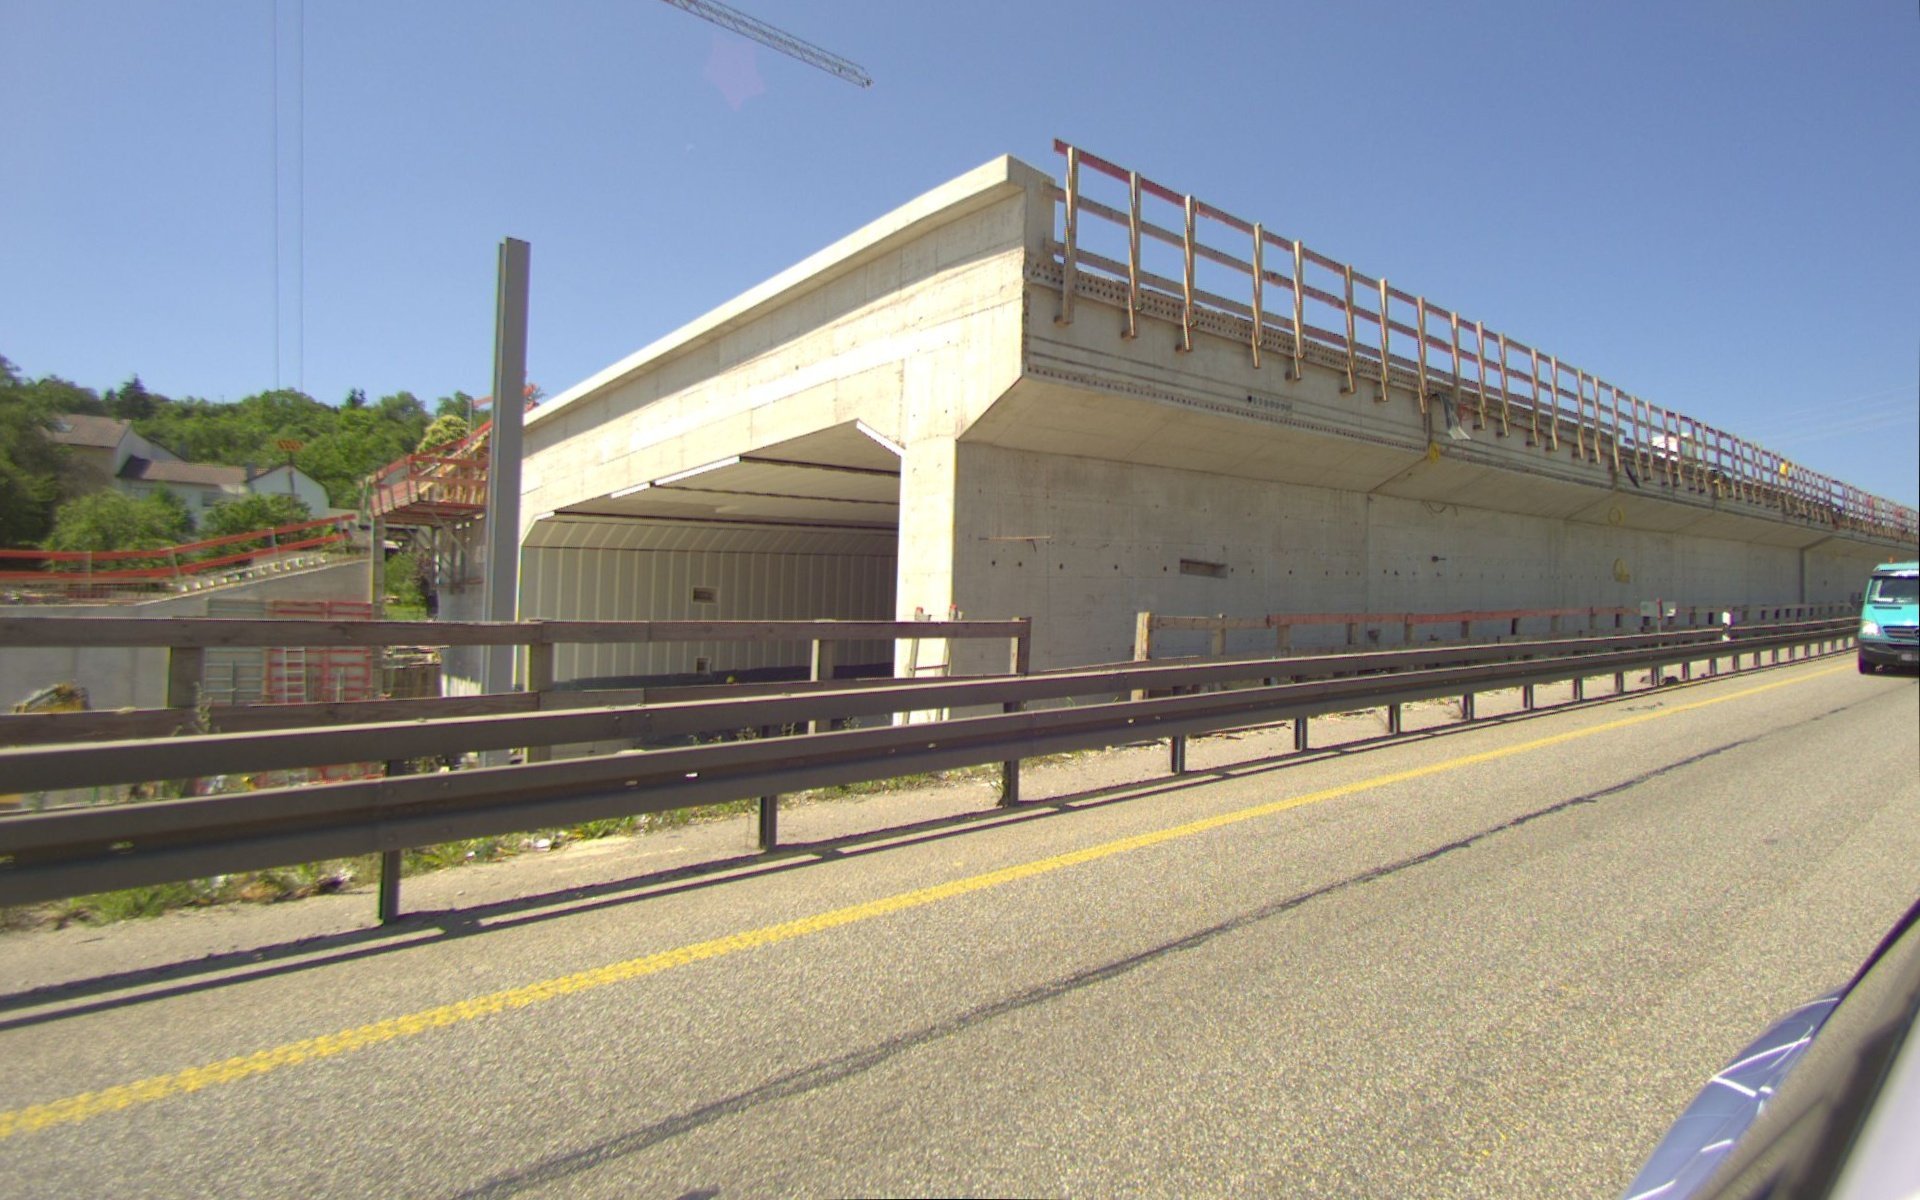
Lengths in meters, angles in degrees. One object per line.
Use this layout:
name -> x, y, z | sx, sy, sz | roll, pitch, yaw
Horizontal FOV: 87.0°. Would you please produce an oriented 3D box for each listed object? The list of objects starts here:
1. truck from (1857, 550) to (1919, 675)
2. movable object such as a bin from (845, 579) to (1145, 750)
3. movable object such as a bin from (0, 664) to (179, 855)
truck -> 21.208, 0.157, 21.566 | 7.303, 2.386, 2.138 | -2, 1, -40
movable object such as a bin -> 1.276, 1.511, 28.875 | 8.998, 4.113, 2.958 | -2, 1, -41
movable object such as a bin -> -17.436, 2.910, 17.922 | 3.425, 2.941, 7.159 | -1, -8, -18
